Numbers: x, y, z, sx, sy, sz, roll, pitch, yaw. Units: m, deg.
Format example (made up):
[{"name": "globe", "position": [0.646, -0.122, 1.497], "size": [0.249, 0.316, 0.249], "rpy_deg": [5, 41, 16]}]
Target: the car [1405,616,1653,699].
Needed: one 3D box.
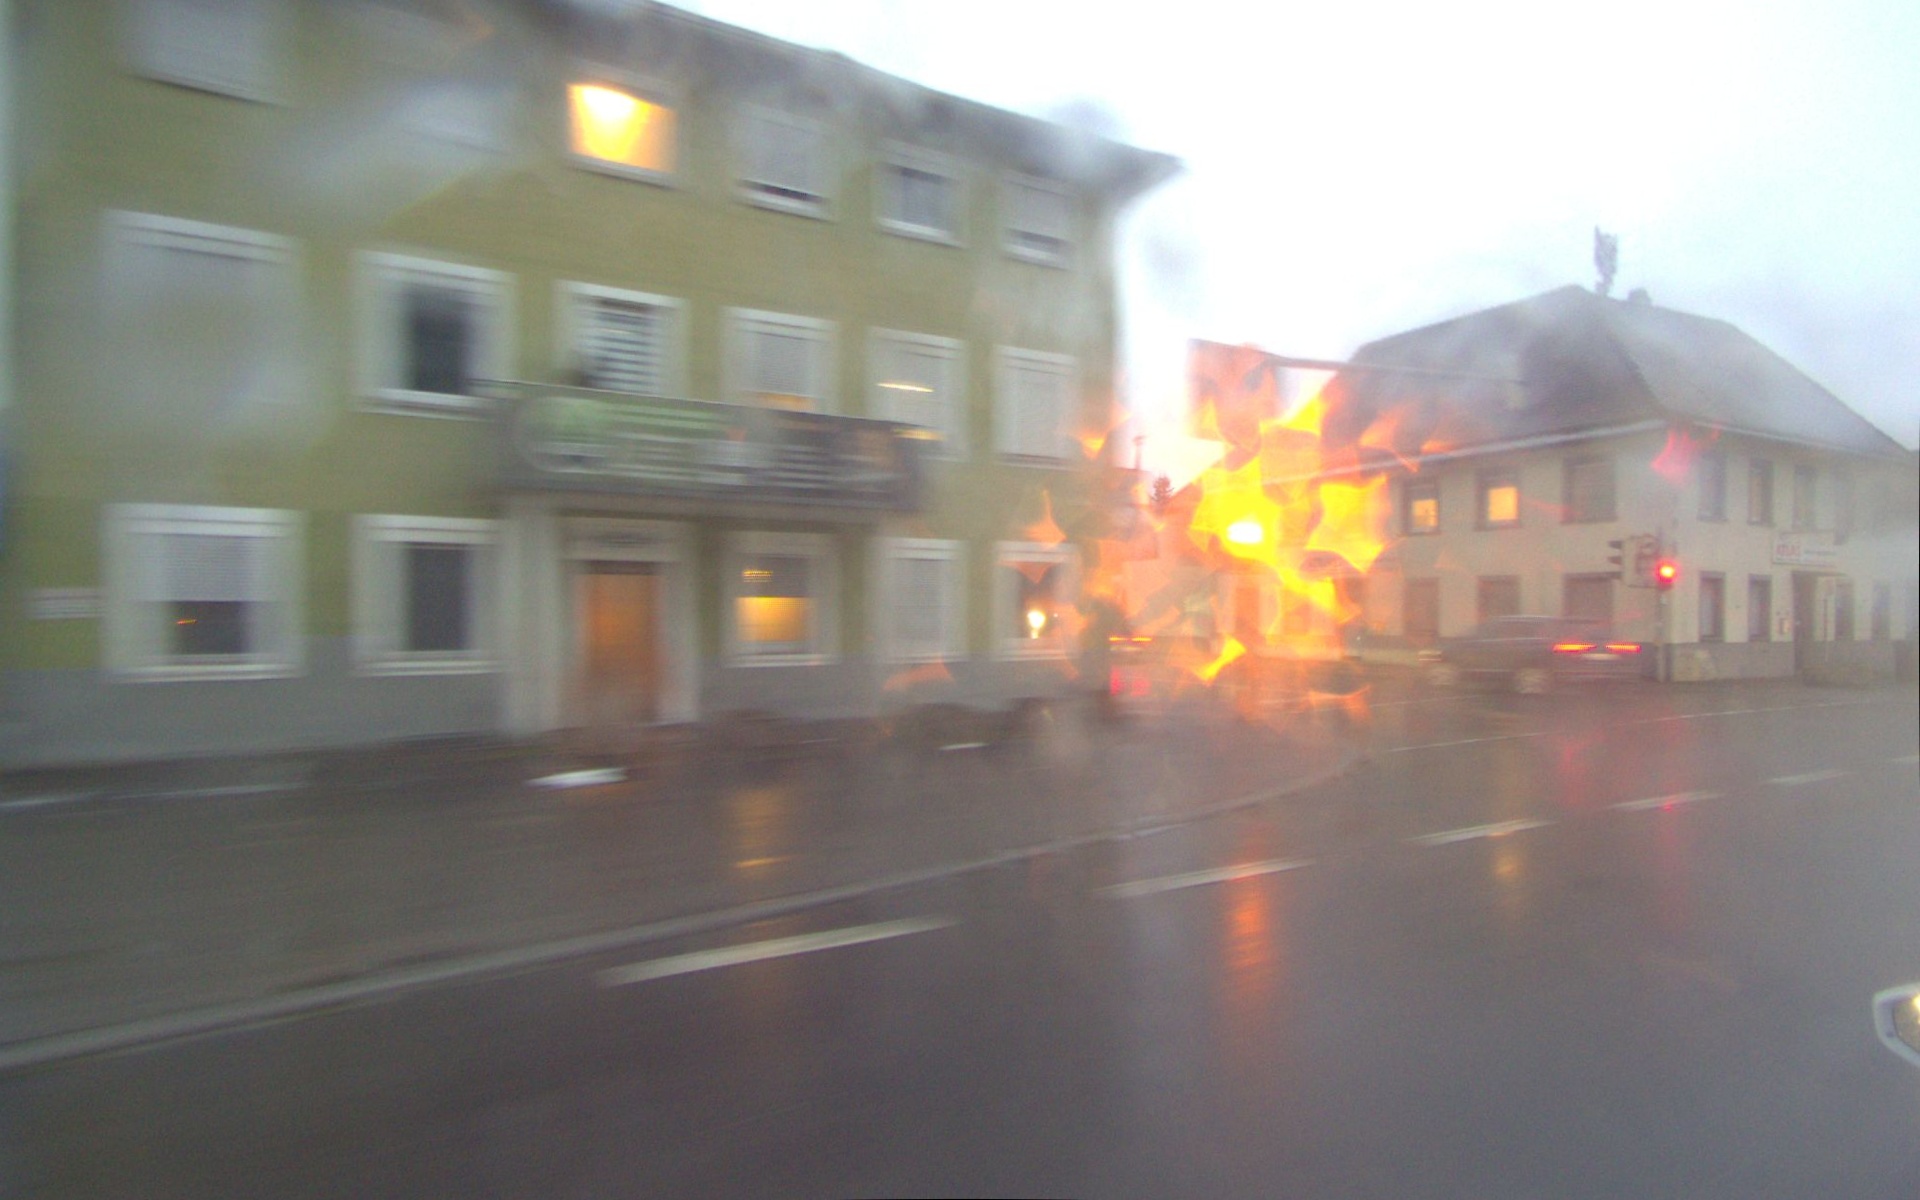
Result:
[{"name": "car", "position": [12.056, 1.161, 21.728], "size": [2.019, 1.593, 4.691], "rpy_deg": [0, -1, -13]}]

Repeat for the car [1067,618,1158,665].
[{"name": "car", "position": [5.520, 1.473, 36.598], "size": [1.533, 1.528, 3.196], "rpy_deg": [0, 1, -34]}]
